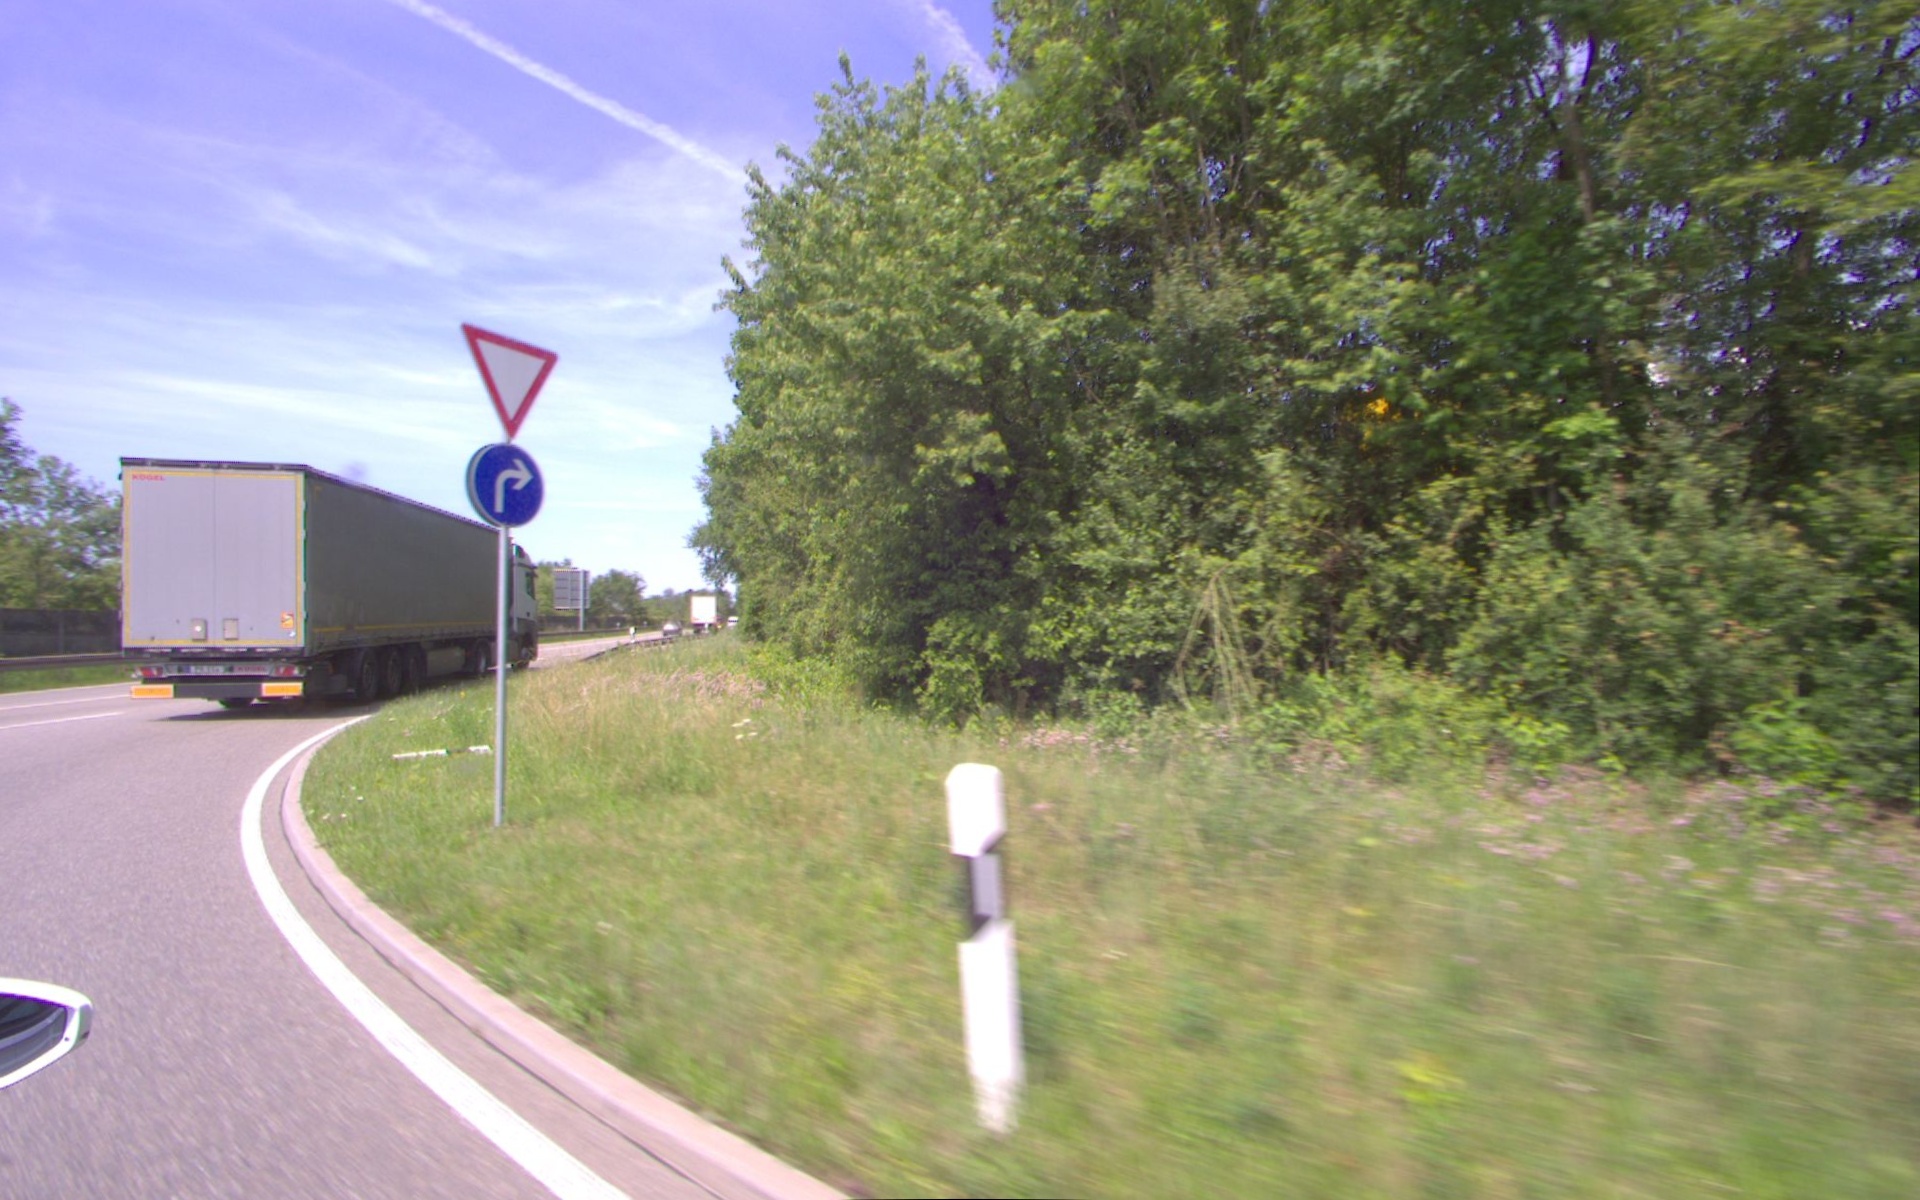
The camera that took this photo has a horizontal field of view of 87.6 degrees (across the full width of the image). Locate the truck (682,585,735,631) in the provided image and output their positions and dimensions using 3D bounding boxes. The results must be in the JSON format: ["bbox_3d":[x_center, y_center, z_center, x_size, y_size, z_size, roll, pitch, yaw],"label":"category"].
[{"bbox_3d":[-28.415,1.024,113.870,3.767,4.806,16.200,0,-1,-7],"label":"truck"}]

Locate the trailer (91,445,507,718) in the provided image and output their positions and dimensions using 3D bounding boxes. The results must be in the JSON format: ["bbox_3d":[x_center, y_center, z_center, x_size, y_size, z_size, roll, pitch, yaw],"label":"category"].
[{"bbox_3d":[-12.974,-0.087,21.816,2.981,4.086,13.341,0,-1,-13],"label":"trailer"}]

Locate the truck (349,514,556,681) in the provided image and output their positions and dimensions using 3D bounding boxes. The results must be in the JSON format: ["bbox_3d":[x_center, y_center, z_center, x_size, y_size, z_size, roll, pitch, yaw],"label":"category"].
[{"bbox_3d":[-14.496,0.063,29.366,3.102,4.278,7.123,0,-2,-6],"label":"truck"}]

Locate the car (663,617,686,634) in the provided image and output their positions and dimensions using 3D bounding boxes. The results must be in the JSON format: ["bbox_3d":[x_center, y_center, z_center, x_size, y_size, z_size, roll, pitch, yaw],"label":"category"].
[{"bbox_3d":[-27.063,2.409,95.038,1.640,1.505,3.998,1,-1,-9],"label":"car"}]
